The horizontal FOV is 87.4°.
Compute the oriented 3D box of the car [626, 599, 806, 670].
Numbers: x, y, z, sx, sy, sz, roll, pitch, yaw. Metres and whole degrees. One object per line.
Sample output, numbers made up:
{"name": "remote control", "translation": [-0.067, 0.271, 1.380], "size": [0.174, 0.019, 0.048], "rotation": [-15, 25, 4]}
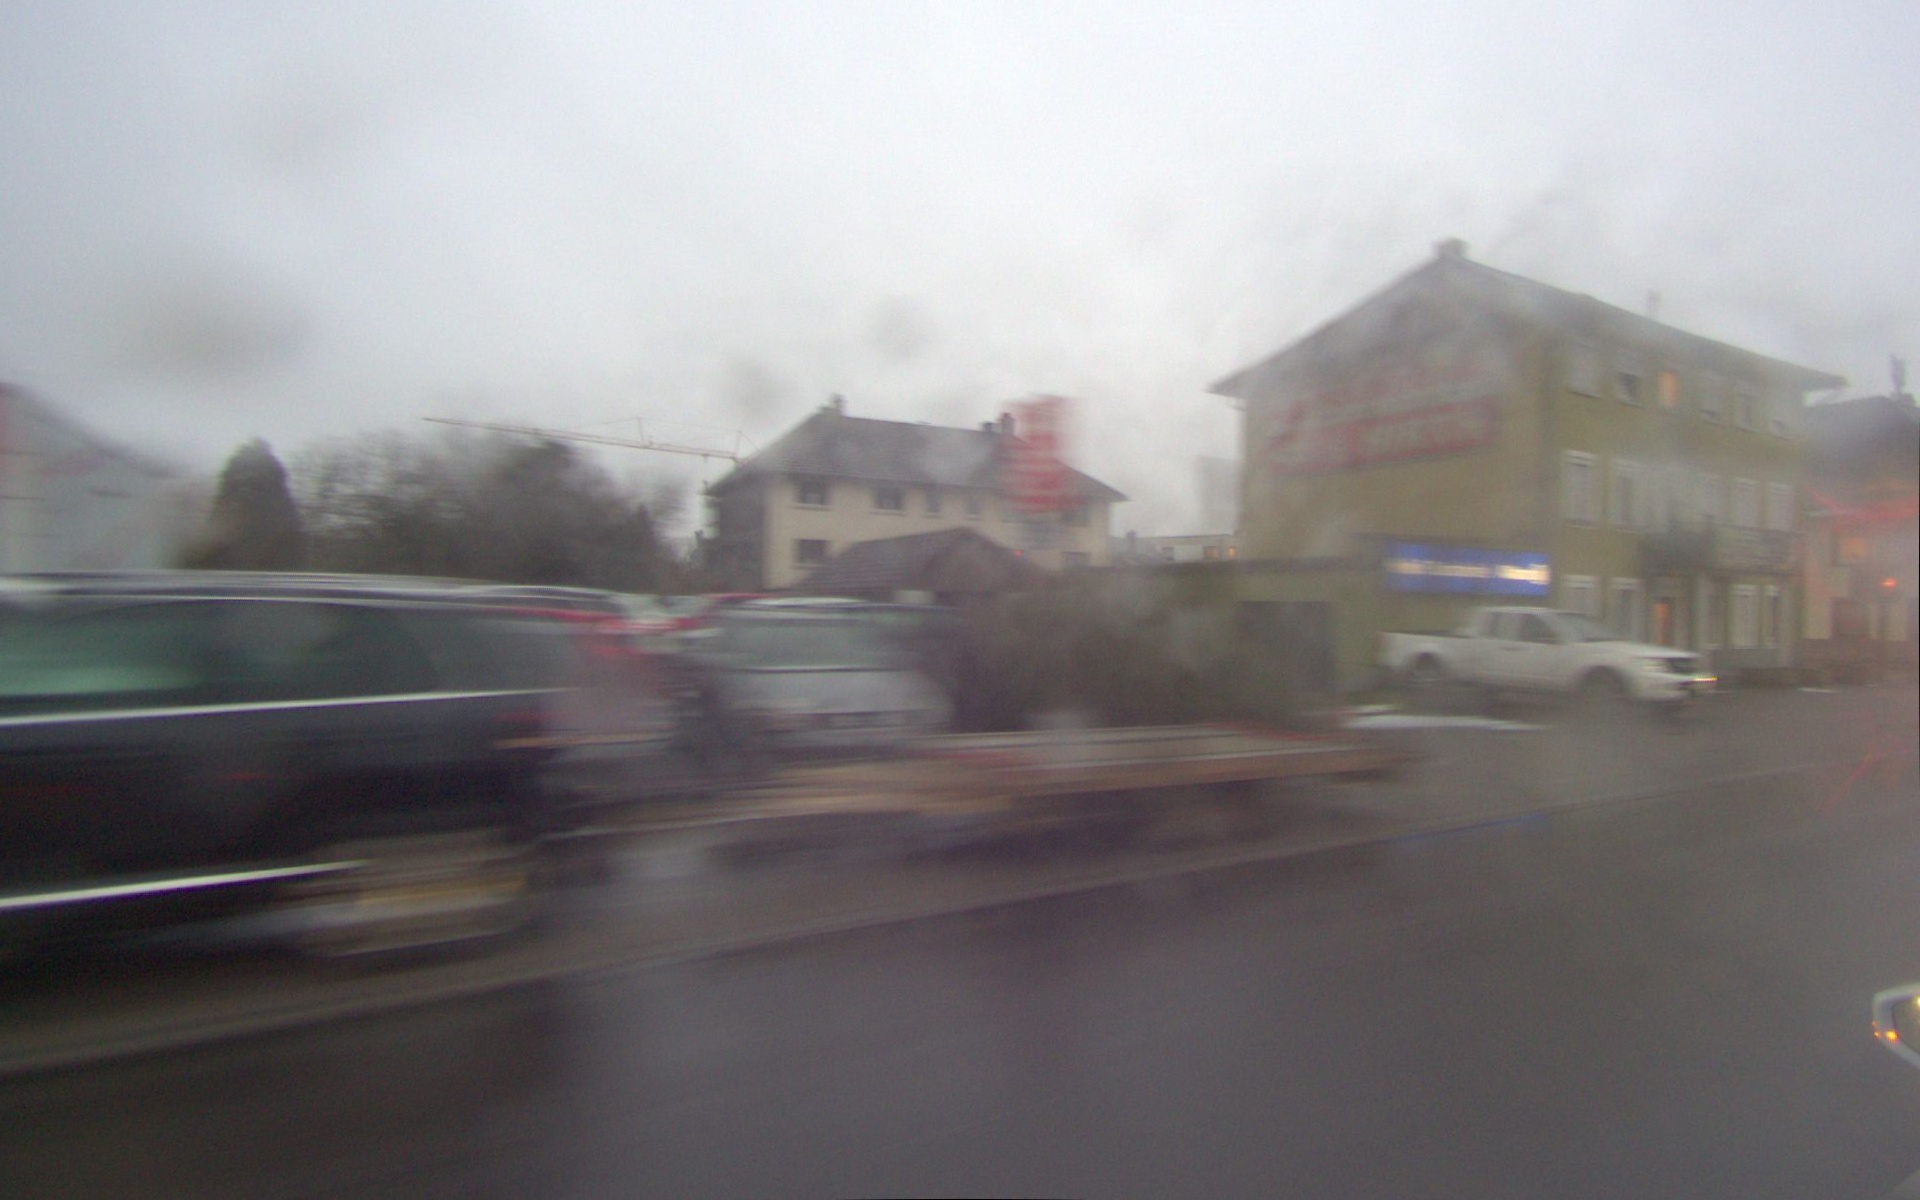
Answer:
{"name": "car", "translation": [-6.046, 0.840, 24.948], "size": [3.954, 1.646, 1.984], "rotation": [1, -1, -31]}

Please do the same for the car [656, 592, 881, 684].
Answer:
{"name": "car", "translation": [-3.784, 0.729, 19.962], "size": [3.954, 1.646, 1.984], "rotation": [1, -1, -31]}

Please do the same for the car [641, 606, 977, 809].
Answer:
{"name": "car", "translation": [-1.805, 0.913, 10.379], "size": [1.897, 1.604, 4.535], "rotation": [1, -2, -30]}

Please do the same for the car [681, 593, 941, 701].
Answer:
{"name": "car", "translation": [-2.526, 0.764, 17.174], "size": [3.954, 1.646, 1.984], "rotation": [1, -1, -31]}

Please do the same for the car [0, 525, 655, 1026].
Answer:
{"name": "car", "translation": [-3.903, 0.673, 4.660], "size": [4.459, 1.855, 1.961], "rotation": [1, -2, -30]}

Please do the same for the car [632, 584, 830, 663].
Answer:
{"name": "car", "translation": [-5.159, 0.537, 22.666], "size": [3.954, 1.646, 1.984], "rotation": [1, -1, -31]}

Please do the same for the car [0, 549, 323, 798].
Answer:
{"name": "car", "translation": [-6.932, 0.415, 8.831], "size": [1.976, 1.649, 4.257], "rotation": [1, 2, -29]}

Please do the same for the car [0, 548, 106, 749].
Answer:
{"name": "car", "translation": [-11.060, 0.444, 9.697], "size": [3.954, 1.929, 1.984], "rotation": [1, -1, -31]}

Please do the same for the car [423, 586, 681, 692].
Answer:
{"name": "car", "translation": [-7.068, 0.638, 17.449], "size": [3.952, 1.646, 1.789], "rotation": [1, 1, -30]}

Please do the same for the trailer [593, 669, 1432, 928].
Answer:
{"name": "trailer", "translation": [0.658, 1.136, 7.307], "size": [6.032, 1.052, 1.984], "rotation": [1, -2, -30]}

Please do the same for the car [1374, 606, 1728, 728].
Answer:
{"name": "car", "translation": [10.186, 1.040, 17.853], "size": [1.975, 1.814, 5.169], "rotation": [1, -1, -28]}

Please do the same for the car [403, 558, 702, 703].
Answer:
{"name": "car", "translation": [-6.158, 0.453, 15.253], "size": [3.954, 1.929, 1.984], "rotation": [1, -1, -31]}

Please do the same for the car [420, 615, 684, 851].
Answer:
{"name": "car", "translation": [-3.719, 0.919, 8.733], "size": [1.698, 1.447, 3.877], "rotation": [1, 0, -29]}

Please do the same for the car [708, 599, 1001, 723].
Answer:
{"name": "car", "translation": [-1.575, 0.864, 15.232], "size": [3.954, 1.646, 1.984], "rotation": [1, -1, -31]}

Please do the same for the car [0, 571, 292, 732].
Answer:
{"name": "car", "translation": [-11.144, 0.627, 13.048], "size": [3.954, 1.894, 1.984], "rotation": [1, -1, -31]}

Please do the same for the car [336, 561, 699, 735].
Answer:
{"name": "car", "translation": [-5.585, 0.569, 12.835], "size": [3.954, 1.894, 1.984], "rotation": [1, -1, -31]}
